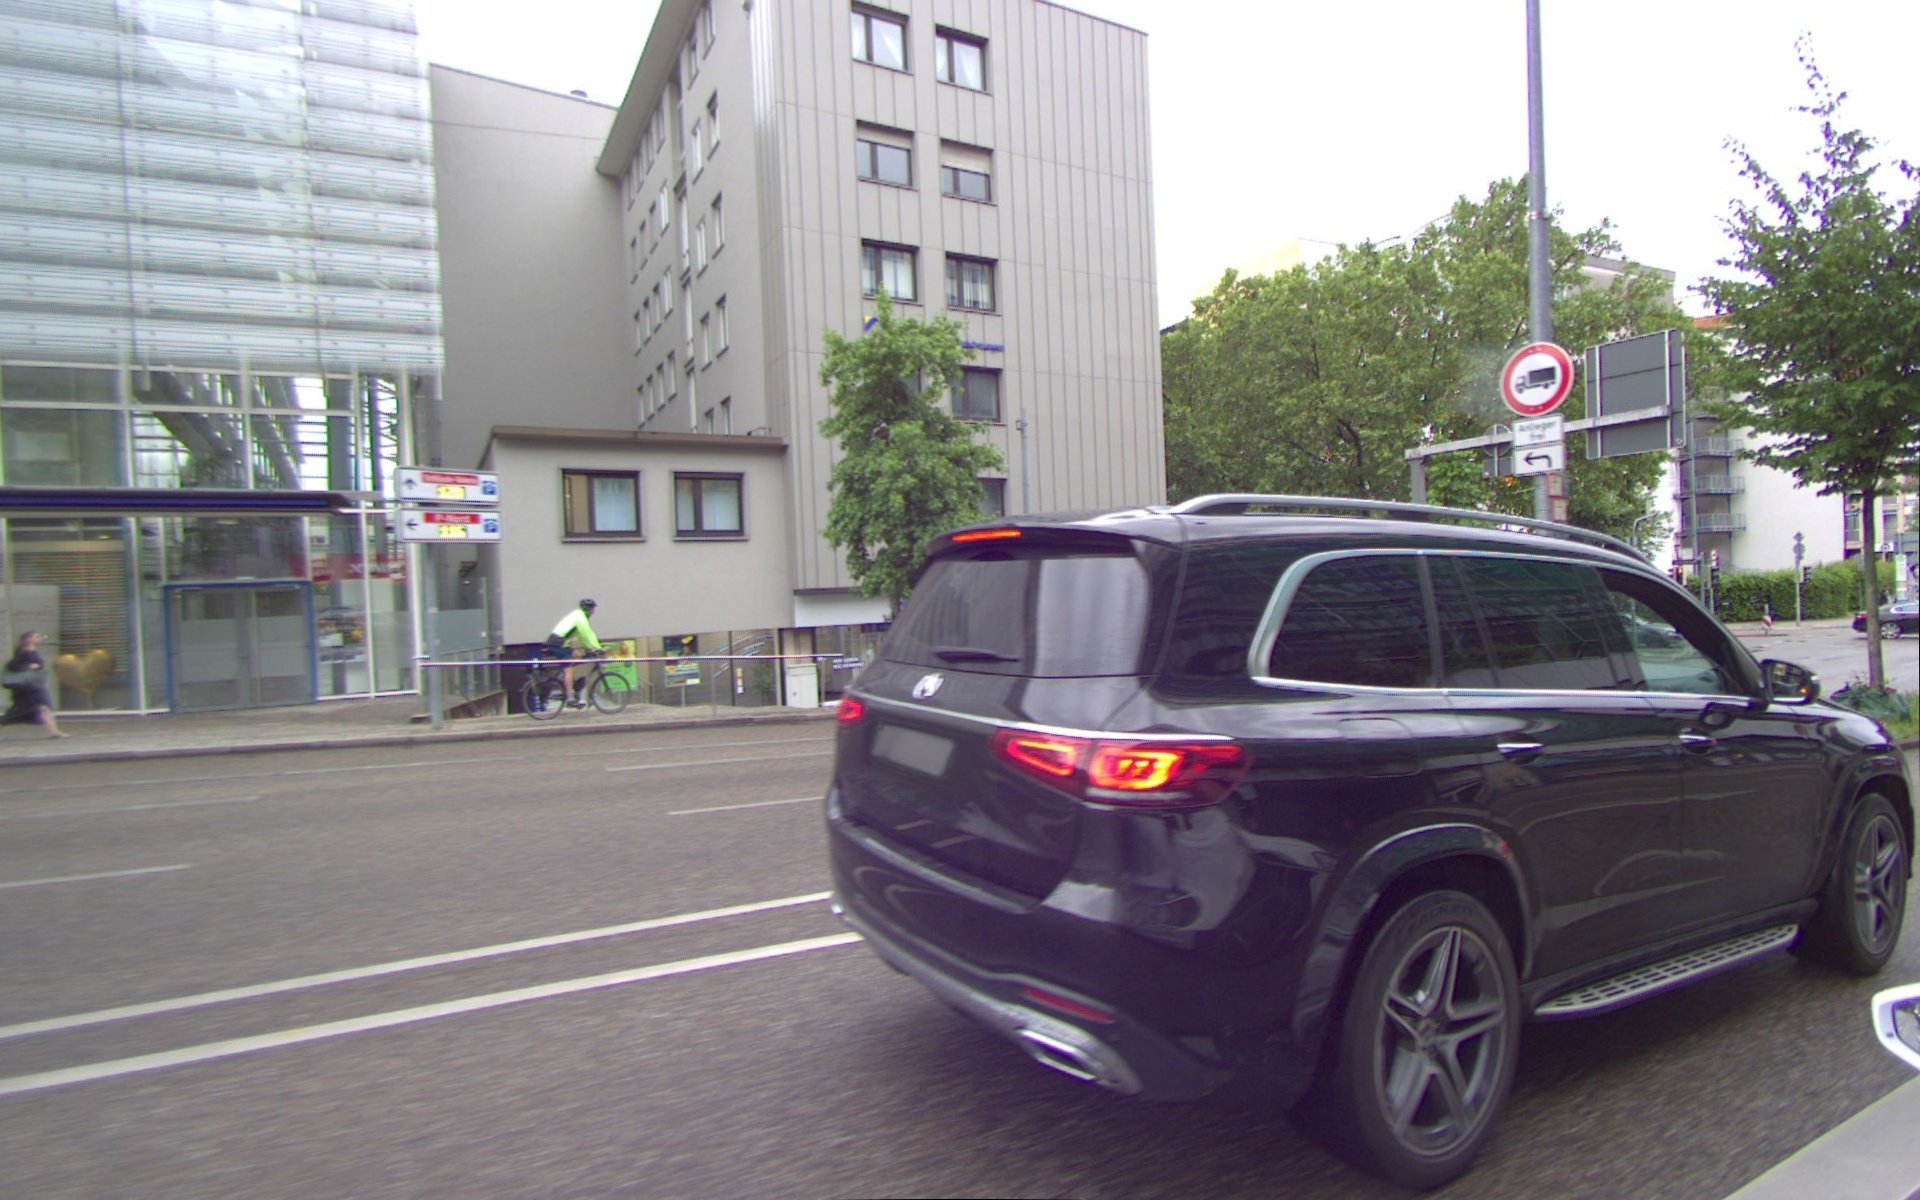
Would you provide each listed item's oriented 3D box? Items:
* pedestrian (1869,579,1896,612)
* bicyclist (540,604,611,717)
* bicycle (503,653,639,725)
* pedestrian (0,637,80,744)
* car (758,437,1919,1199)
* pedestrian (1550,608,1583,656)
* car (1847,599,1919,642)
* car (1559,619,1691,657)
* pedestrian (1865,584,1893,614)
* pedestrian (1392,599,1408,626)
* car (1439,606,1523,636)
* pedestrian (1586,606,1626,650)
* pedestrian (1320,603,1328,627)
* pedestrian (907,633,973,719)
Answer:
[{"bbox_3d":[51.697,-0.250,56.297,0.888,1.826,0.628,-2,-2,17],"label":"pedestrian"},{"bbox_3d":[-6.516,1.014,17.017,0.981,1.854,0.664,1,-3,-36],"label":"bicyclist"},{"bbox_3d":[-6.546,1.470,16.972,2.051,1.114,0.673,1,-3,-36],"label":"bicycle"},{"bbox_3d":[-13.205,1.274,14.325,0.833,1.475,0.650,0,-2,-25],"label":"pedestrian"},{"bbox_3d":[1.789,0.587,4.118,4.738,1.841,2.076,0,1,-32],"label":"car"},{"bbox_3d":[23.392,1.239,38.729,0.860,1.803,0.708,-1,-2,13],"label":"pedestrian"},{"bbox_3d":[38.207,0.804,39.727,4.633,1.665,1.776,1,0,44],"label":"car"},{"bbox_3d":[29.137,1.620,44.118,1.929,1.502,4.546,1,0,-44],"label":"car"},{"bbox_3d":[50.575,-0.049,55.274,0.908,1.629,0.564,-2,-2,17],"label":"pedestrian"},{"bbox_3d":[29.757,0.854,67.966,0.825,1.802,0.611,0,-2,-38],"label":"pedestrian"},{"bbox_3d":[29.928,1.198,57.737,1.763,1.638,3.958,1,-1,-43],"label":"car"},{"bbox_3d":[25.691,1.121,39.941,1.035,1.731,0.813,-1,-2,6],"label":"pedestrian"},{"bbox_3d":[26.250,1.090,72.411,0.496,1.732,0.618,-2,-2,16],"label":"pedestrian"},{"bbox_3d":[-0.439,1.605,21.535,1.028,1.745,0.986,0,-2,-35],"label":"pedestrian"}]
